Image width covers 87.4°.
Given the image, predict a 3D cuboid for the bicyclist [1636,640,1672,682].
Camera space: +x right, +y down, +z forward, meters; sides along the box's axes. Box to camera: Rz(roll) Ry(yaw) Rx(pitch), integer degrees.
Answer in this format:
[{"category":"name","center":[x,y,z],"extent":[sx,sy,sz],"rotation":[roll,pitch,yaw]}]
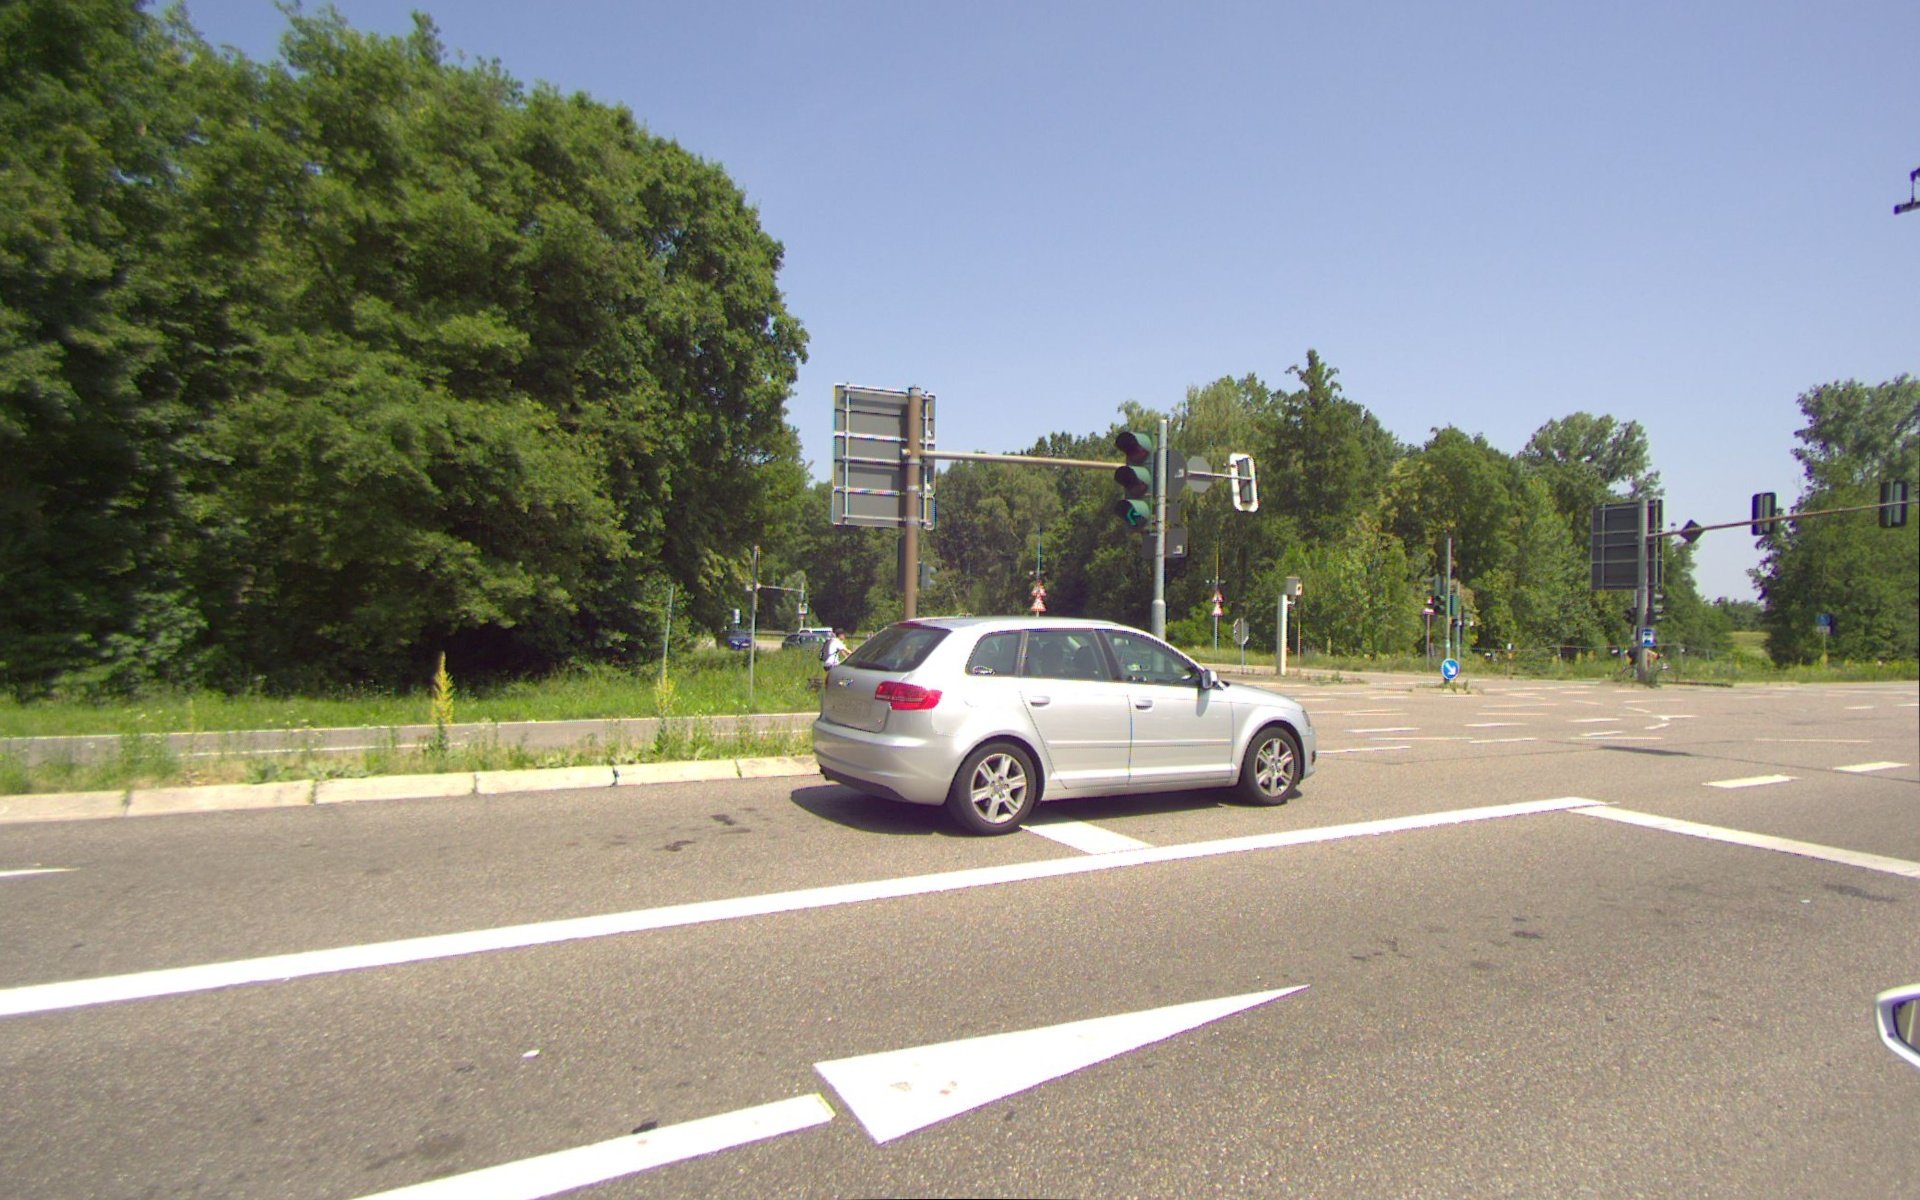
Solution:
[{"category":"bicyclist","center":[24.897,2.188,36.054],"extent":[0.701,1.479,0.927],"rotation":[1,-2,8]}]

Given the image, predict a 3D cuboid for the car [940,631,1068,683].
[{"category":"car","center":[1.374,1.864,33.727],"extent":[2.104,1.588,4.784],"rotation":[2,-2,-29]}]

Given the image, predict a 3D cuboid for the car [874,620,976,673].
[{"category":"car","center":[-1.434,1.760,38.750],"extent":[1.976,1.923,4.783],"rotation":[2,-2,-29]}]

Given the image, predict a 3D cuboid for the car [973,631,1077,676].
[{"category":"car","center":[2.476,2.048,39.500],"extent":[1.974,1.657,4.790],"rotation":[2,-2,-26]}]

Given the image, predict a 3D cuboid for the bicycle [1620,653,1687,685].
[{"category":"bicycle","center":[24.868,2.469,36.037],"extent":[1.831,1.077,0.725],"rotation":[1,-2,8]}]

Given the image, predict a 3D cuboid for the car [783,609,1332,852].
[{"category":"car","center":[0.834,0.834,7.764],"extent":[3.970,1.410,1.755],"rotation":[2,0,-32]}]

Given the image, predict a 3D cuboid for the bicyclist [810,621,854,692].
[{"category":"bicyclist","center":[-2.733,1.197,21.427],"extent":[0.798,1.484,0.658],"rotation":[1,-2,-20]}]

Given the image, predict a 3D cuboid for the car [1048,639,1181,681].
[{"category":"car","center":[5.220,2.013,34.634],"extent":[2.080,1.307,4.785],"rotation":[2,-2,-29]}]

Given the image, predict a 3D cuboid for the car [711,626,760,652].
[{"category":"car","center":[-16.032,2.746,71.541],"extent":[1.977,1.780,4.781],"rotation":[2,-2,-31]}]

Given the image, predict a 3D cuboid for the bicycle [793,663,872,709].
[{"category":"bicycle","center":[-2.711,1.816,21.425],"extent":[1.581,0.935,0.564],"rotation":[1,-2,-21]}]

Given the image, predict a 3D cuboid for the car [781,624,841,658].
[{"category":"car","center":[-8.881,2.409,59.624],"extent":[2.041,1.920,4.785],"rotation":[2,-2,-28]}]
